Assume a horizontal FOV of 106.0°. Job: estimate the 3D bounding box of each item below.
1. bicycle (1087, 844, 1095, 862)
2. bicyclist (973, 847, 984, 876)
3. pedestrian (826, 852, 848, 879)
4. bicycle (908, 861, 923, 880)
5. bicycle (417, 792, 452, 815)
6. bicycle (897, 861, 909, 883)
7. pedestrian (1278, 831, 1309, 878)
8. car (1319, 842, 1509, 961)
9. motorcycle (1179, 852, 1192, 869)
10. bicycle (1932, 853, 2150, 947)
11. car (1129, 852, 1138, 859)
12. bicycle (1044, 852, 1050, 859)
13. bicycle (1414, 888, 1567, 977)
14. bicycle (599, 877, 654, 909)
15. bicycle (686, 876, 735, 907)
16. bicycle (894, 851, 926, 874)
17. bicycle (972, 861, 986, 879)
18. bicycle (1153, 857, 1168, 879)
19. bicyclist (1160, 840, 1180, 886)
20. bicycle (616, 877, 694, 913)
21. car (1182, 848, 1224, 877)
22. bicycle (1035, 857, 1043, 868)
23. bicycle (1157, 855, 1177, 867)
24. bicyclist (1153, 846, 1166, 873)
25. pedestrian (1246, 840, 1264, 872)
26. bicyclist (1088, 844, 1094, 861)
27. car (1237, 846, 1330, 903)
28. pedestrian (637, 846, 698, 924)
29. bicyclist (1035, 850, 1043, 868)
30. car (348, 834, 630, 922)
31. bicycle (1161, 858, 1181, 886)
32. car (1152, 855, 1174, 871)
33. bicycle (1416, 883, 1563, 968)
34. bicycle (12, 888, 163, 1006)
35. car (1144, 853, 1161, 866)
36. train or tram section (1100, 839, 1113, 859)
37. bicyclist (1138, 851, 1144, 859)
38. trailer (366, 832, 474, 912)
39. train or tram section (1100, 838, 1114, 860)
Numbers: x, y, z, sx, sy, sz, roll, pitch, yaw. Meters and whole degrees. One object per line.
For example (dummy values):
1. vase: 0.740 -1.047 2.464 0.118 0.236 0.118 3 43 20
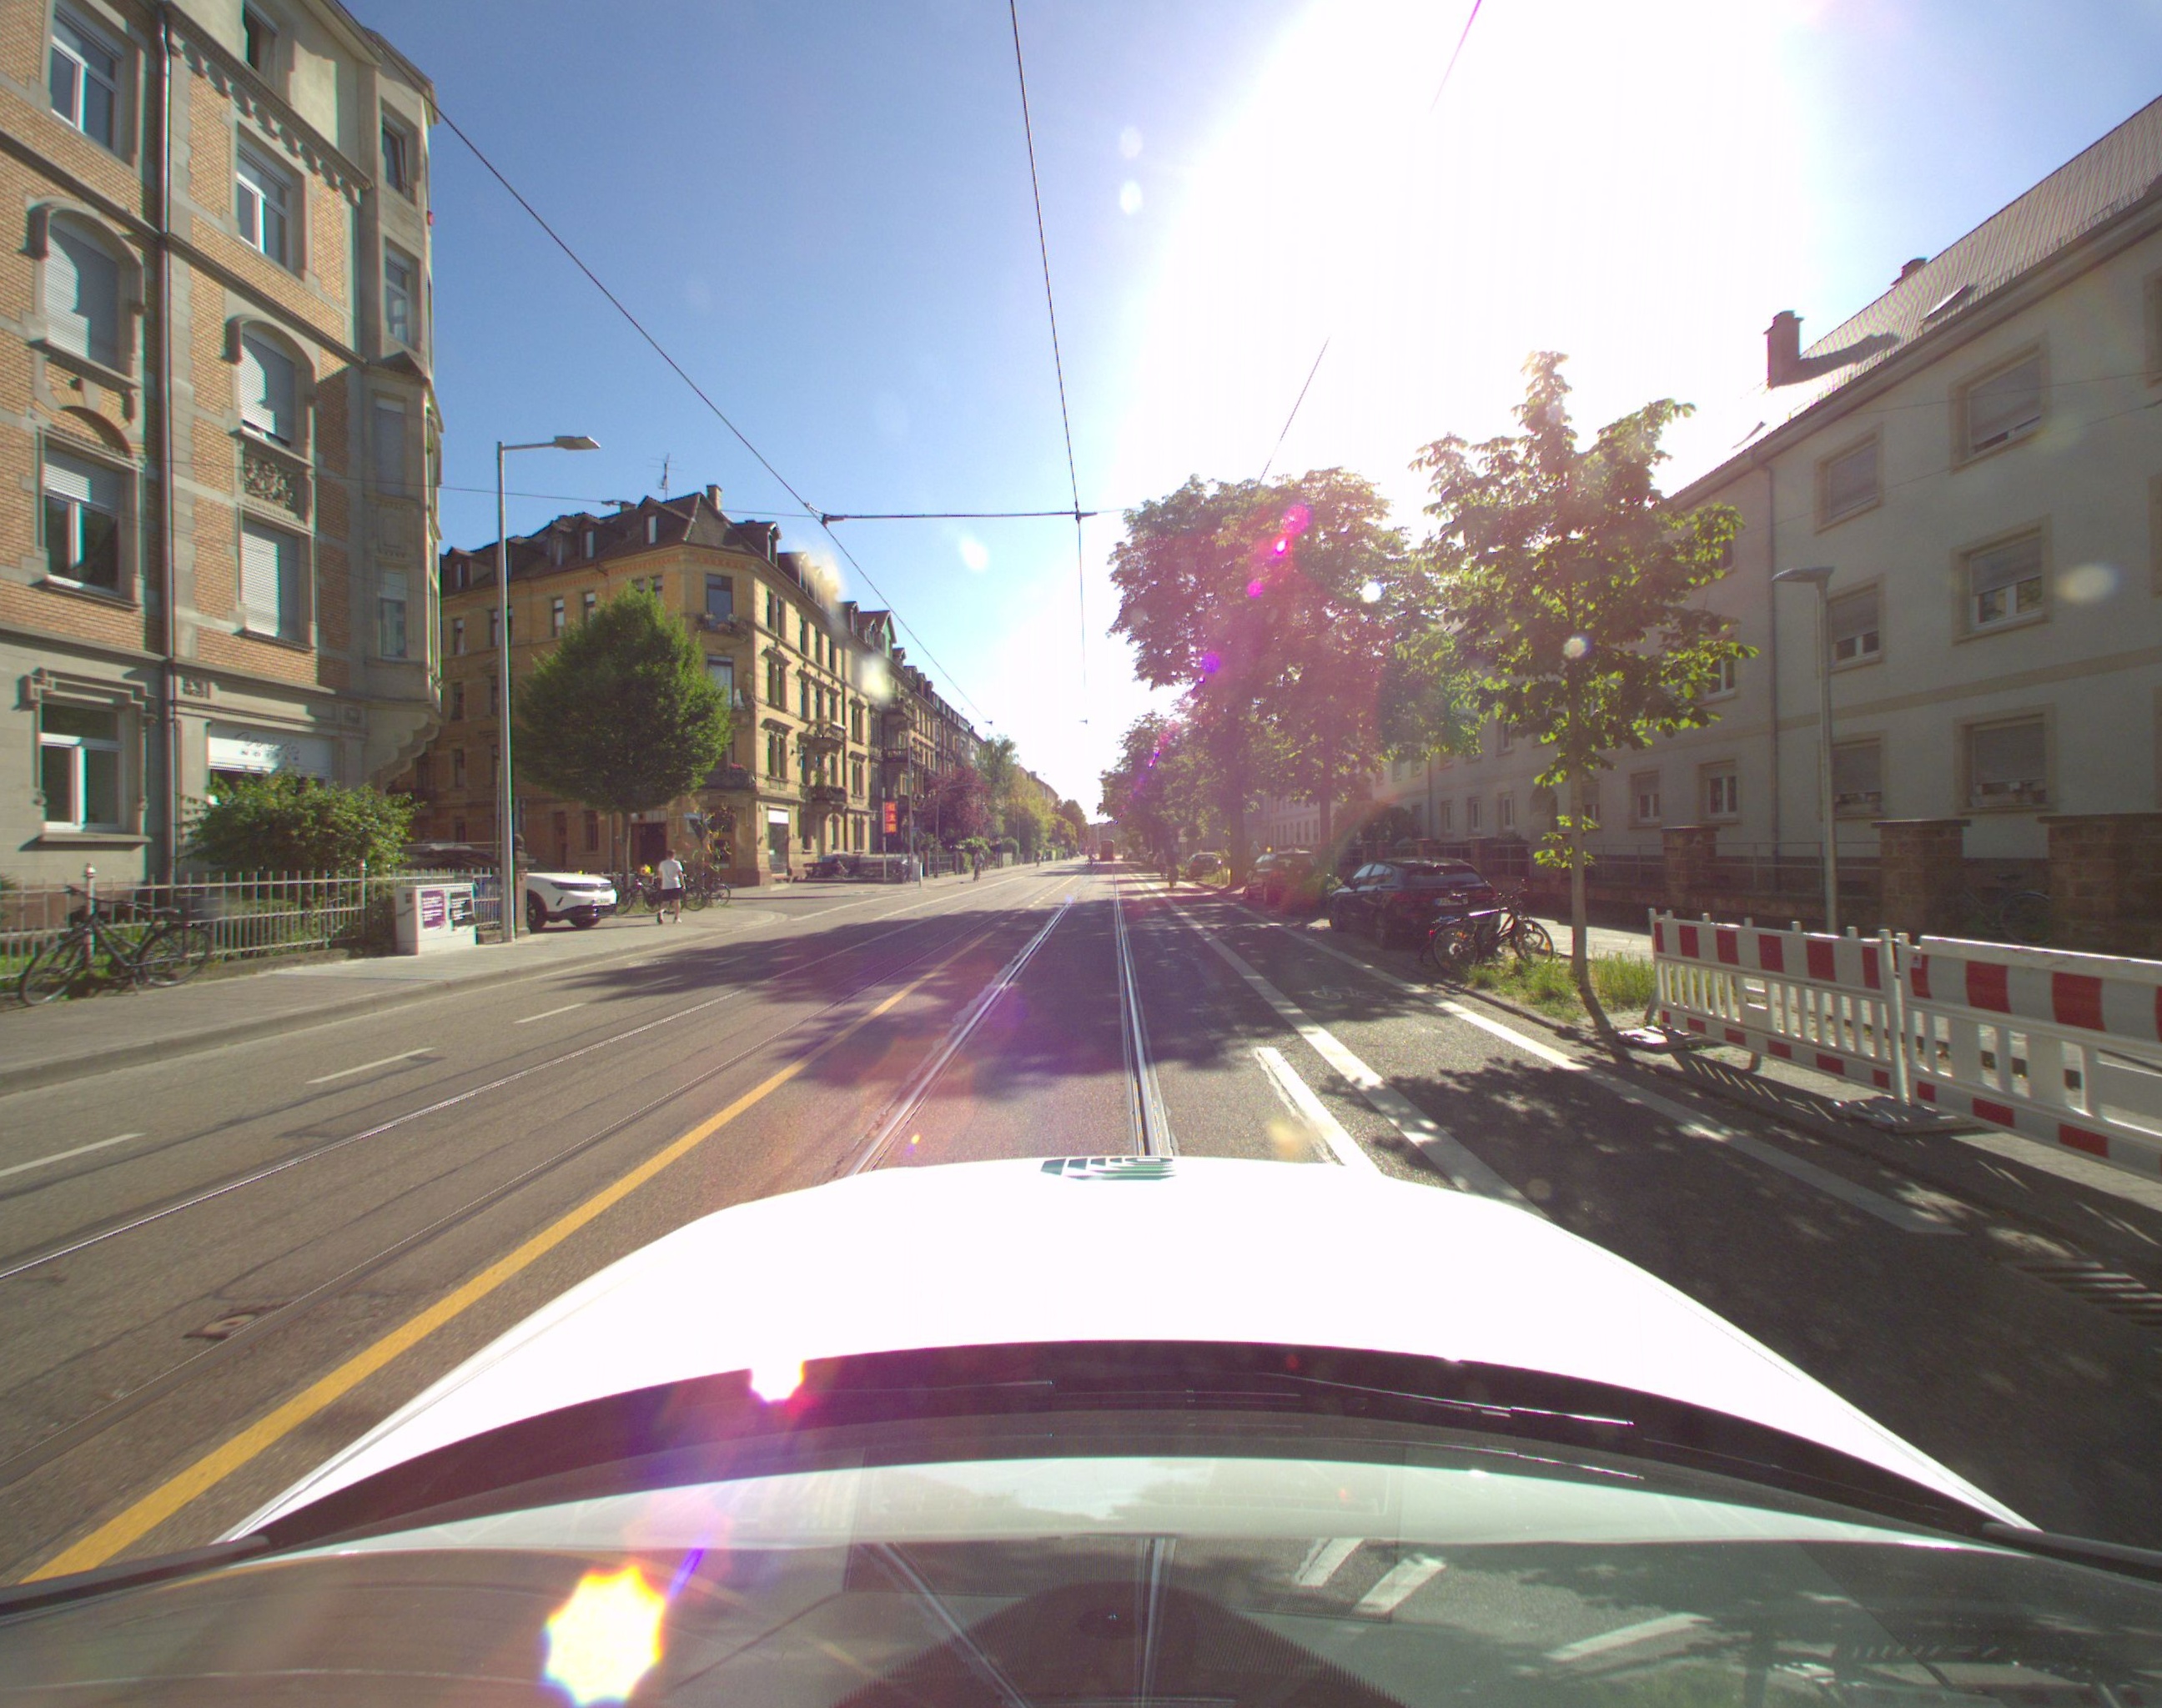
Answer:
1. bicycle: 1.051 -0.110 82.696 0.660 1.859 2.262 1 0 3
2. bicyclist: -5.850 0.421 46.514 0.462 1.618 0.745 -3 0 2
3. pedestrian: -12.837 0.588 42.877 0.897 1.352 0.577 -3 0 3
4. bicycle: -8.872 0.866 43.601 0.334 1.001 1.871 1 0 2
5. bicycle: -34.982 -2.720 44.075 2.107 1.126 0.559 0 0 23
6. bicycle: -9.224 0.918 42.173 0.369 1.126 0.809 1 0 2
7. pedestrian: 8.215 0.034 31.524 0.602 1.770 0.905 -3 0 -29
8. car: 5.592 0.697 14.262 1.659 1.761 4.232 -1 0 1
9. motorcycle: 7.590 0.461 59.117 0.494 1.190 1.858 -4 1 -5
10. bicycle: 11.889 0.522 10.191 0.557 1.053 1.872 -1 0 2
11. car: 11.742 0.247 181.661 1.747 1.552 3.678 0 0 2
12. bicycle: -5.506 0.228 131.740 0.634 1.069 1.822 1 0 -15
13. bicycle: 5.294 1.004 10.584 1.754 1.078 0.434 1 0 2
14. bicycle: -13.442 1.141 24.106 0.613 0.914 1.303 -2 -2 40
15. bicycle: -11.404 1.152 25.065 1.300 0.914 0.614 1 -2 -34
16. bicycle: -10.106 0.490 48.098 1.761 1.320 0.612 1 0 -8
17. bicycle: -5.834 0.912 46.659 0.458 0.926 2.204 -2 0 2
18. bicycle: 4.231 0.743 43.360 0.689 1.112 1.918 1 0 2
19. bicyclist: 3.690 0.370 33.679 0.725 1.848 0.837 1 0 1
20. bicycle: -11.383 1.088 21.770 1.795 0.914 0.614 0 -2 -34
21. car: 6.643 0.446 44.680 1.780 1.464 4.046 -1 0 2
22. bicycle: -4.321 0.898 83.912 0.689 1.112 1.719 -2 0 2
23. bicycle: 8.101 0.631 77.074 1.786 1.019 0.621 -3 0 1
24. bicyclist: 4.194 0.294 43.509 0.633 1.468 0.616 1 0 2
25. pedestrian: 9.324 0.094 43.705 0.755 1.724 0.583 1 0 31
26. bicyclist: 1.025 -0.153 82.383 0.643 1.796 0.956 1 0 2
27. car: 5.871 0.536 24.125 1.714 1.473 4.246 -2 0 1
28. pedestrian: -9.447 0.686 18.629 0.827 1.724 1.081 1 -1 -2
29. bicyclist: -4.340 0.482 83.947 0.658 1.801 0.616 -3 -1 2
30. car: -12.070 0.462 16.794 4.425 1.643 1.969 1 0 4
31. bicycle: 3.715 0.740 33.659 0.689 1.112 1.719 1 0 2
32. car: 8.002 0.881 79.959 1.624 1.436 4.663 -1 0 -1
33. bicycle: 5.521 0.955 11.050 1.754 1.078 0.434 1 0 2
34. bicycle: -10.707 0.948 8.847 0.567 1.033 1.749 0 2 -35
35. car: 8.650 0.668 98.556 1.742 1.420 4.001 -2 0 1
36. train or tram section: 4.413 -0.847 139.031 2.145 3.431 6.614 1 0 2
37. bicyclist: 9.118 0.153 123.007 0.766 1.291 0.737 1 0 18
38. trailer: -23.457 0.660 28.922 2.893 2.695 1.838 -2 -1 25
39. train or tram section: 4.194 -0.811 132.381 2.145 3.431 6.614 1 0 2
